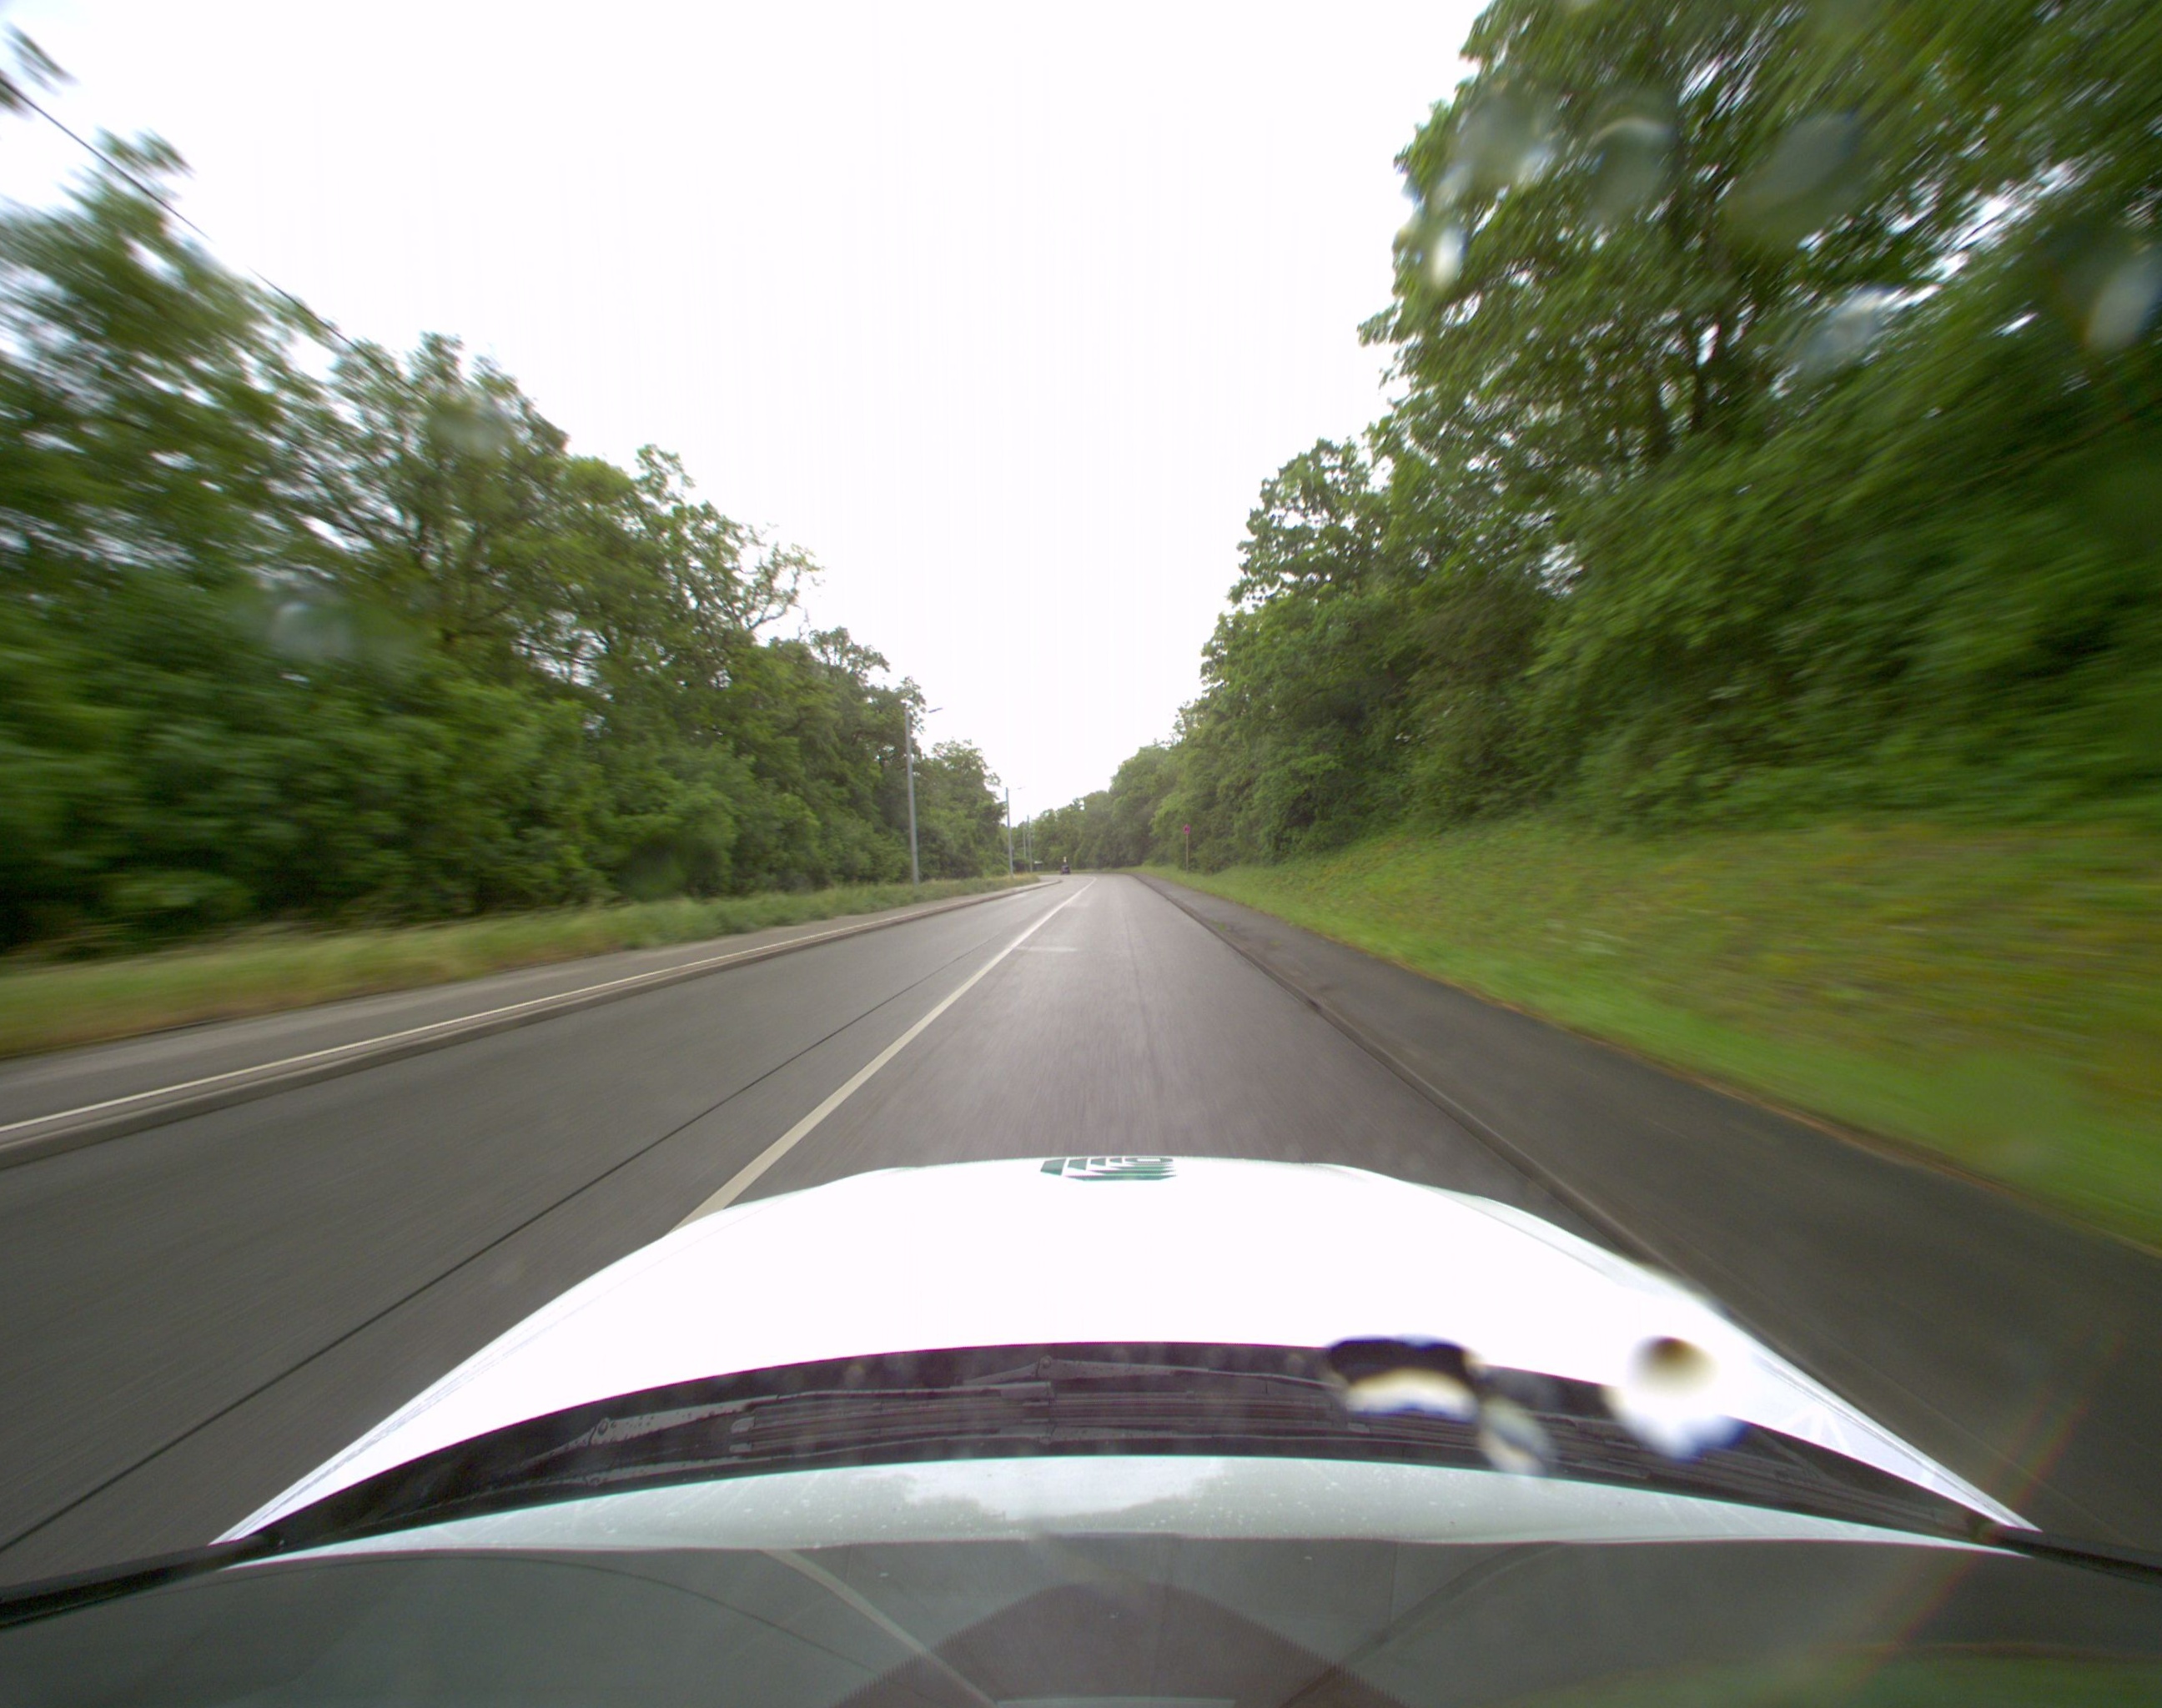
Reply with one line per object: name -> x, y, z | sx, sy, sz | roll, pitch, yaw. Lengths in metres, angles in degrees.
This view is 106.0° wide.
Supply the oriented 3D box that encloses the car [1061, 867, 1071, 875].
car -> -3.032, 3.507, 166.641 | 1.865, 1.596, 3.992 | 1, -2, -5
